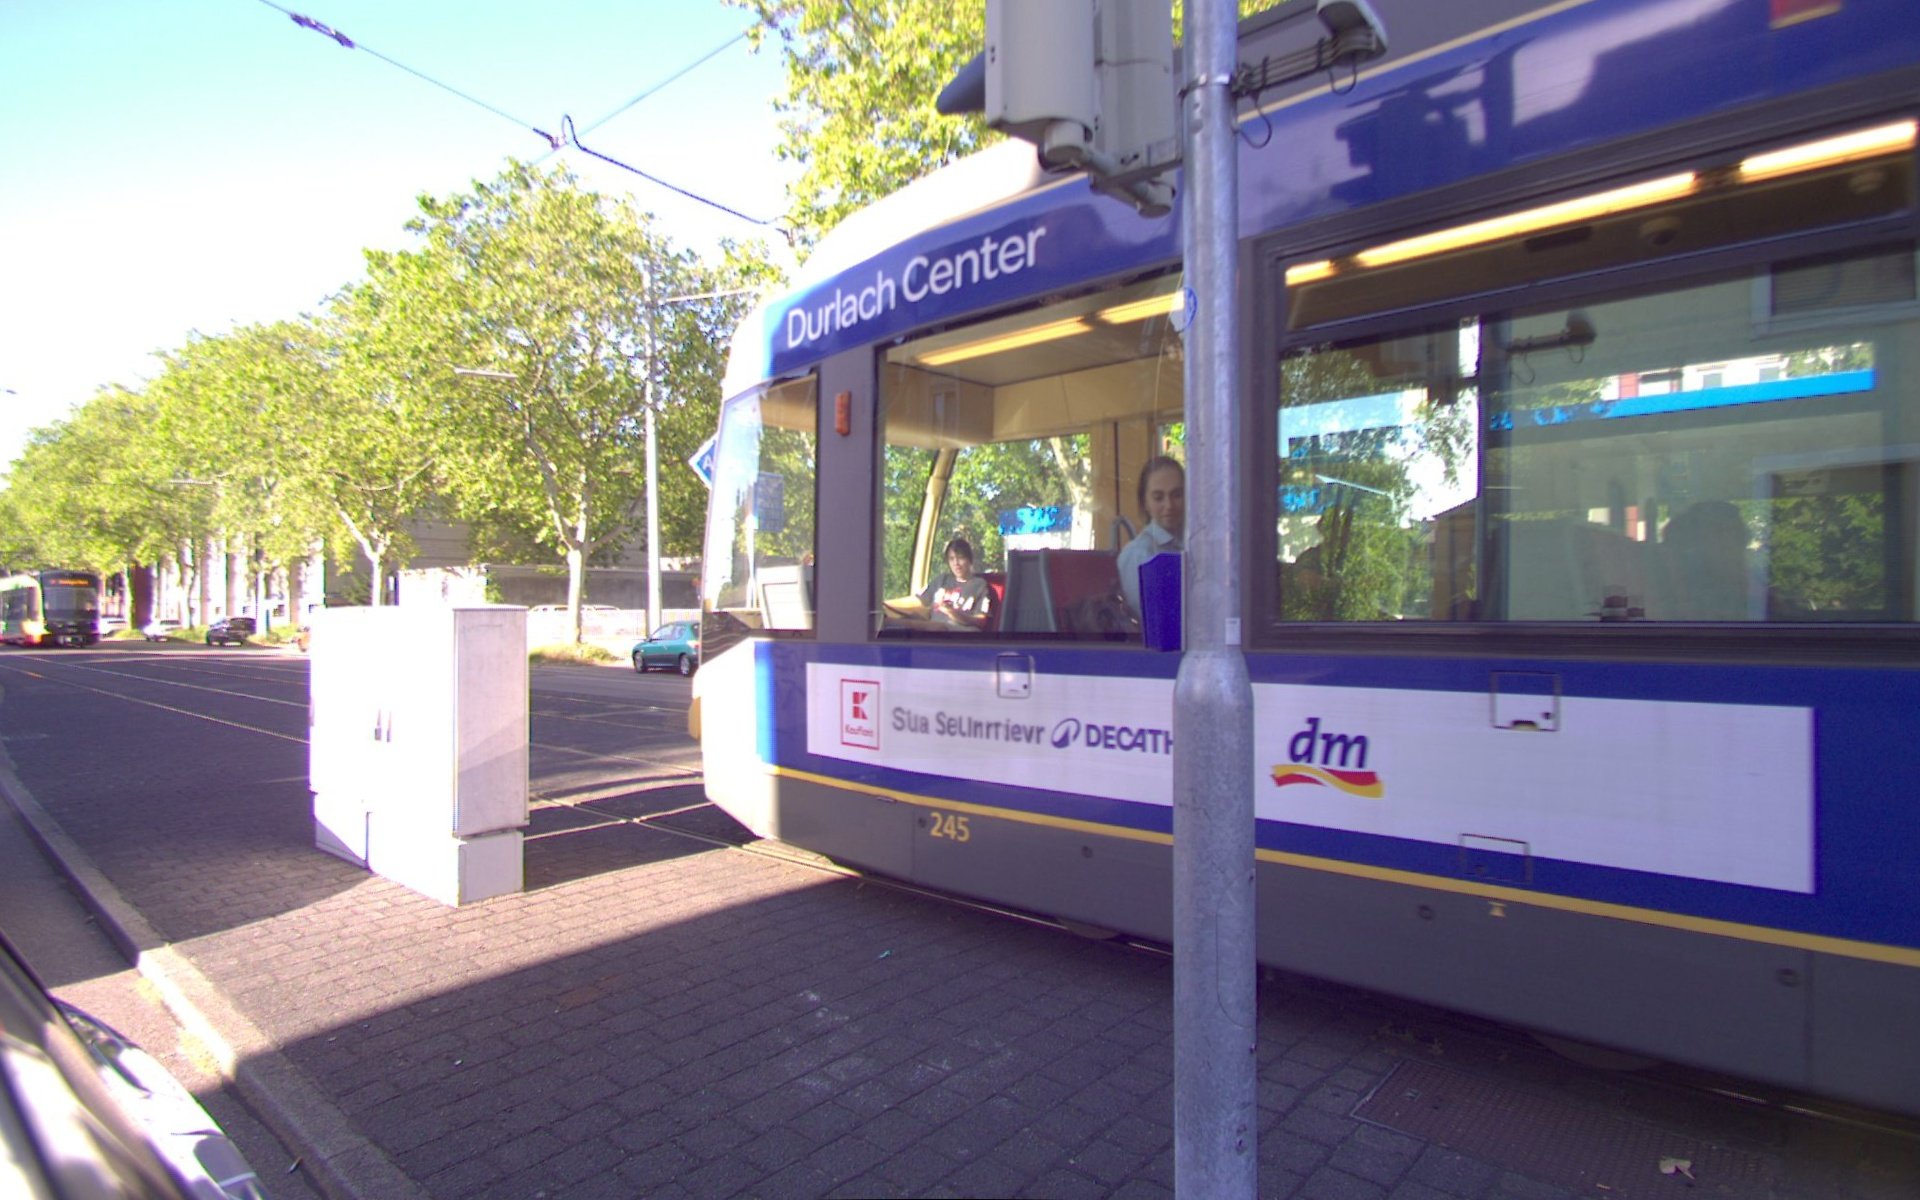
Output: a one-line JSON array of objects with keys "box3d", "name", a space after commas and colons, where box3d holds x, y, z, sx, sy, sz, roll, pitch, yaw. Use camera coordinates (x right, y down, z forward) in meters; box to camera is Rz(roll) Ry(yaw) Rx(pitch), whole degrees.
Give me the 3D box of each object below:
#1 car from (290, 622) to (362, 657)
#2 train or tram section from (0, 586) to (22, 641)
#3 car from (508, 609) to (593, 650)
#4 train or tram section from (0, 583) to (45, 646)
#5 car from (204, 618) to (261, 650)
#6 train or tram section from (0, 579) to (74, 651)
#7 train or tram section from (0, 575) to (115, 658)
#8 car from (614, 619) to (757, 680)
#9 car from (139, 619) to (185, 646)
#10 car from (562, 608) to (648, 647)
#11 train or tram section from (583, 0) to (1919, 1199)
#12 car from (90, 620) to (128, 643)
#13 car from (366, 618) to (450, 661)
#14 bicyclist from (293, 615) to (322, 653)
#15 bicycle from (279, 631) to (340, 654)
[{"box3d": [-28.951, 1.767, 46.178, 4.001, 1.418, 1.821, -1, 1, 44], "name": "car"}, {"box3d": [-64.828, 0.910, 67.117, 10.179, 3.503, 2.806, -1, 0, 41], "name": "train or tram section"}, {"box3d": [-17.120, 1.187, 42.277, 4.002, 1.545, 1.820, -1, 1, 45], "name": "car"}, {"box3d": [-57.231, 0.871, 60.391, 10.179, 3.503, 2.806, -1, 0, 41], "name": "train or tram section"}, {"box3d": [-40.641, 1.878, 56.481, 4.098, 1.628, 1.821, -1, 1, 44], "name": "car"}, {"box3d": [-49.656, 0.786, 53.652, 10.179, 3.503, 2.806, -1, 0, 42], "name": "train or tram section"}, {"box3d": [-42.050, 0.719, 46.948, 10.178, 3.503, 2.825, -1, 0, 41], "name": "train or tram section"}, {"box3d": [-7.418, 1.269, 27.130, 4.138, 1.418, 1.820, -1, 1, 45], "name": "car"}, {"box3d": [-53.823, 2.152, 68.208, 4.098, 1.686, 1.821, -1, 1, 44], "name": "car"}, {"box3d": [-15.379, 1.164, 43.769, 3.999, 1.545, 1.822, -1, 1, 42], "name": "car"}, {"box3d": [1.805, -0.443, 4.025, 7.958, 3.526, 2.785, -2, -2, 41], "name": "train or tram section"}, {"box3d": [-66.925, 2.480, 79.581, 4.098, 1.686, 1.821, -1, 1, 44], "name": "car"}, {"box3d": [-21.952, 1.534, 40.184, 4.002, 1.545, 1.820, -1, 1, 45], "name": "car"}, {"box3d": [-33.111, 1.717, 51.367, 1.053, 1.878, 0.723, 0, -1, -15], "name": "bicyclist"}, {"box3d": [-33.007, 2.155, 51.385, 2.490, 1.129, 0.656, 0, -1, -15], "name": "bicycle"}]
